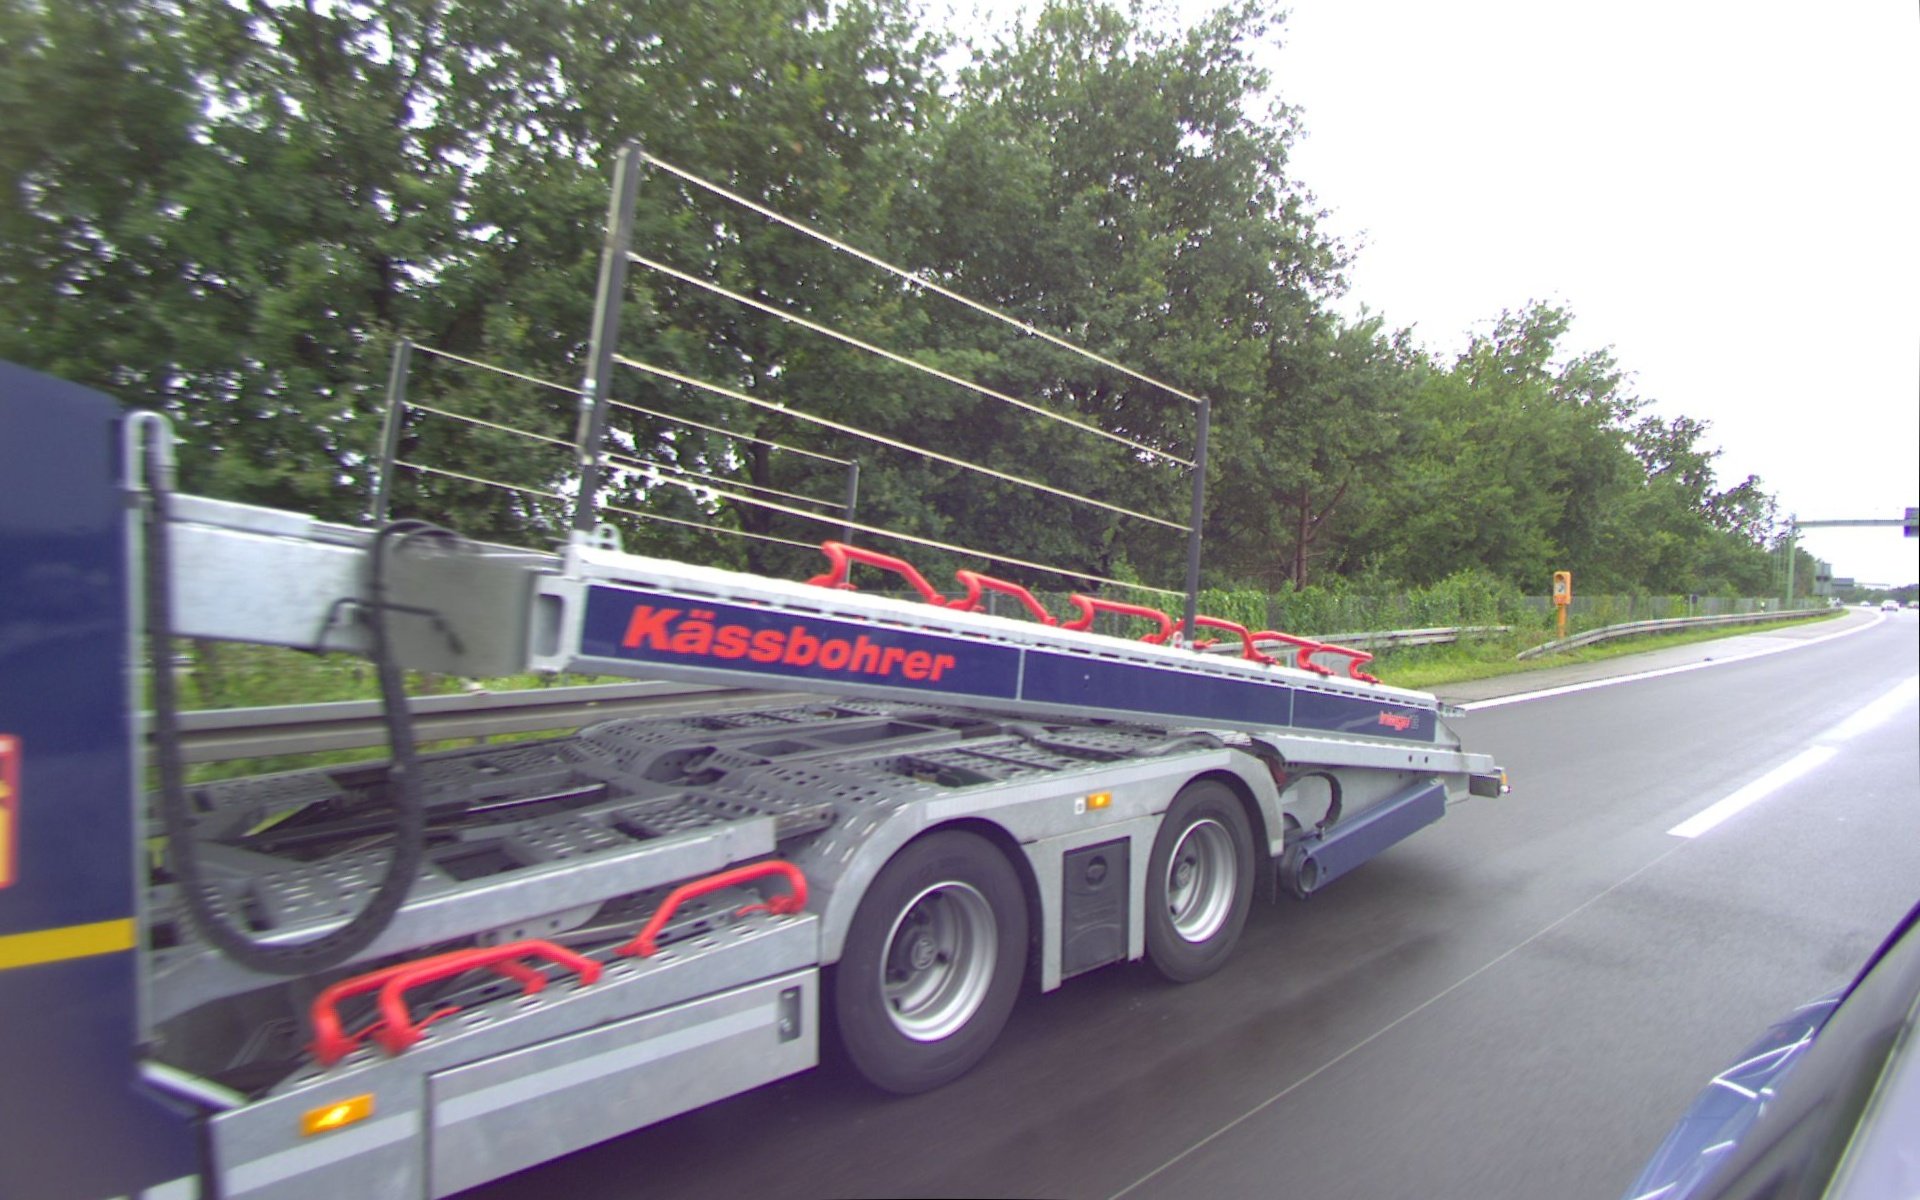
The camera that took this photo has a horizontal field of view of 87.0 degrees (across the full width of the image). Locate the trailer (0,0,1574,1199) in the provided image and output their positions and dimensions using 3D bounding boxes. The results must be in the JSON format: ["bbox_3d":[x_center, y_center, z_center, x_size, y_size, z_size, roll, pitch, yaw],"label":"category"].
[{"bbox_3d":[-1.084,-0.241,3.721,10.226,3.326,2.782,0,1,-41],"label":"trailer"}]

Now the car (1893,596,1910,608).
[{"bbox_3d":[140.854,0.331,151.395,1.623,1.662,3.724,1,2,39],"label":"car"}]
